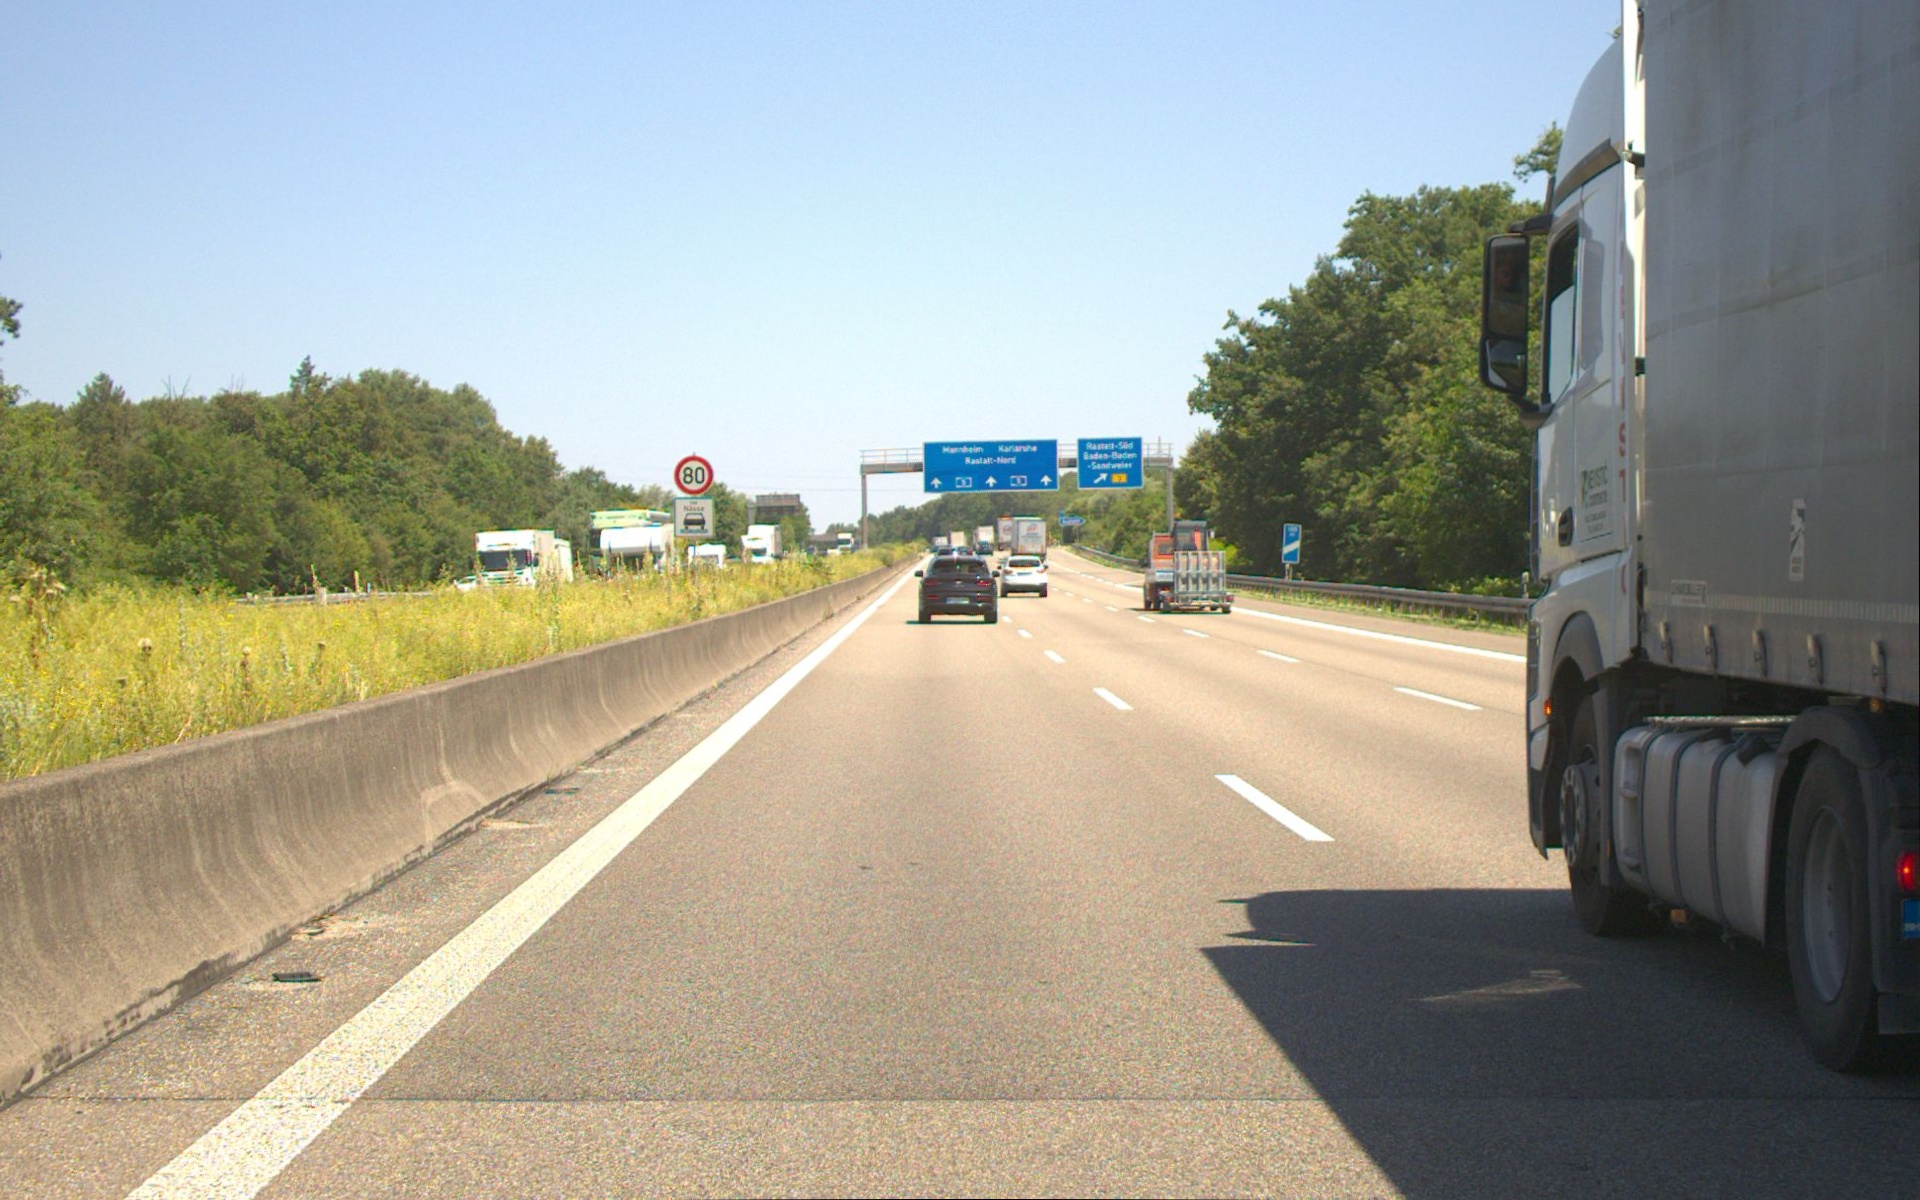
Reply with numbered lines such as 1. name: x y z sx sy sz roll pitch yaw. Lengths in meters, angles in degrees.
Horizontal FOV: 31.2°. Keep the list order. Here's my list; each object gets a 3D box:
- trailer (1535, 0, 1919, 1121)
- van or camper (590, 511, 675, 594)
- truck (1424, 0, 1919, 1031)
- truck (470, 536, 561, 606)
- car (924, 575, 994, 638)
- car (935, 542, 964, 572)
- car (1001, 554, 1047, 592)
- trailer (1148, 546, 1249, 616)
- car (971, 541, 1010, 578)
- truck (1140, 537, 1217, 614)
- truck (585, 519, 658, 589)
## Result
1. trailer: 3.800 -0.717 6.591 2.707 4.054 14.746 0 0 -1
2. van or camper: -12.772 -1.861 134.572 2.507 3.144 7.534 0 1 1
3. truck: 3.697 -0.715 13.793 2.700 4.080 6.453 0 0 -1
4. truck: -19.416 -1.288 150.570 2.687 2.932 10.487 -1 1 0
5. car: -0.036 0.148 87.852 1.660 1.544 3.783 1 0 -2
6. car: -0.740 -3.083 246.366 1.993 2.007 4.000 -2 0 -1
7. car: 2.563 -1.080 138.480 1.740 1.481 4.000 0 0 -1
8. trailer: 7.030 -0.588 102.028 2.420 2.007 6.034 0 1 -1
9. car: 1.656 -2.218 189.405 1.993 2.007 4.000 -1 0 -1
10. truck: 6.811 -0.788 107.372 1.993 2.365 4.645 0 1 -1
11. truck: -14.936 -2.020 152.241 2.606 2.998 6.972 -1 1 -1
